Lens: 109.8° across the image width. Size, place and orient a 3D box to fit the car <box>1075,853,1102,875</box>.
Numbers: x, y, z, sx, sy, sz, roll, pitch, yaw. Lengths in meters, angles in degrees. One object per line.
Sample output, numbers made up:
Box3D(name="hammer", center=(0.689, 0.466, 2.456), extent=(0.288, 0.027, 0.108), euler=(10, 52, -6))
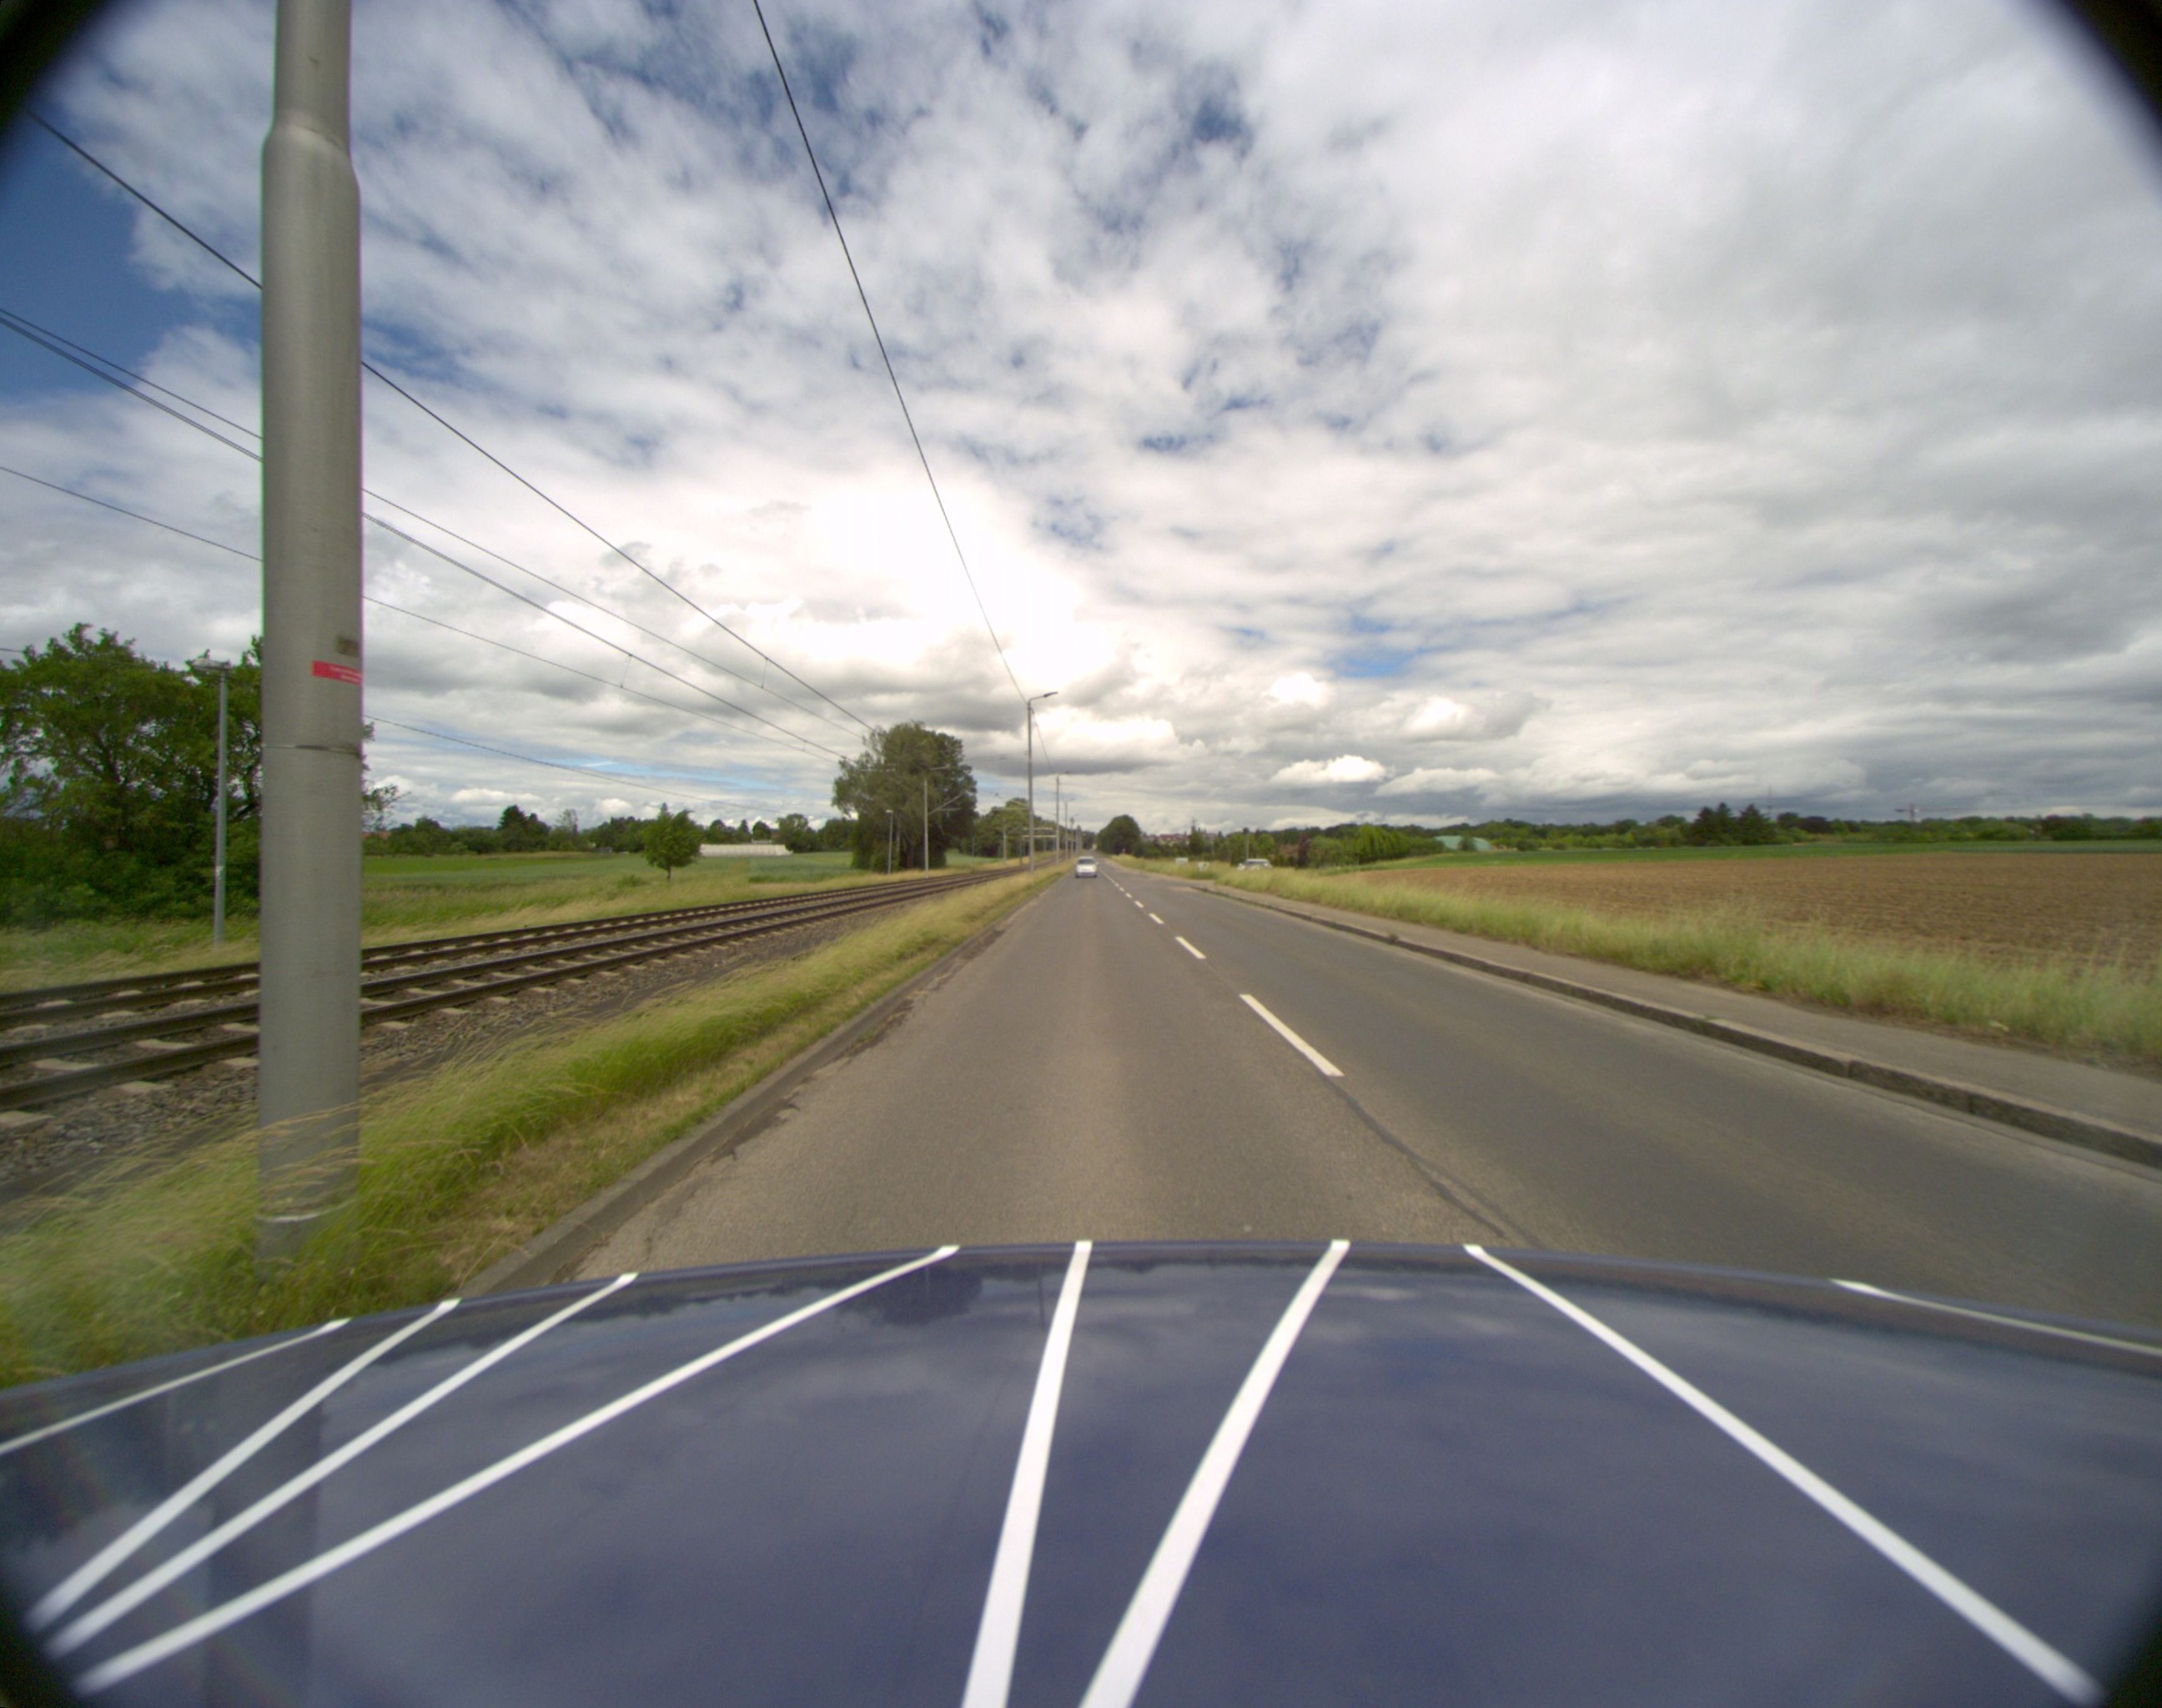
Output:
Box3D(name="car", center=(0.536, 0.756, 59.981), extent=(1.999, 1.679, 3.999), euler=(-1, 0, -1))

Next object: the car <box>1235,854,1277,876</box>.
Box3D(name="car", center=(12.534, 0.809, 54.339), extent=(1.970, 1.445, 4.008), euler=(-1, -1, 28))
